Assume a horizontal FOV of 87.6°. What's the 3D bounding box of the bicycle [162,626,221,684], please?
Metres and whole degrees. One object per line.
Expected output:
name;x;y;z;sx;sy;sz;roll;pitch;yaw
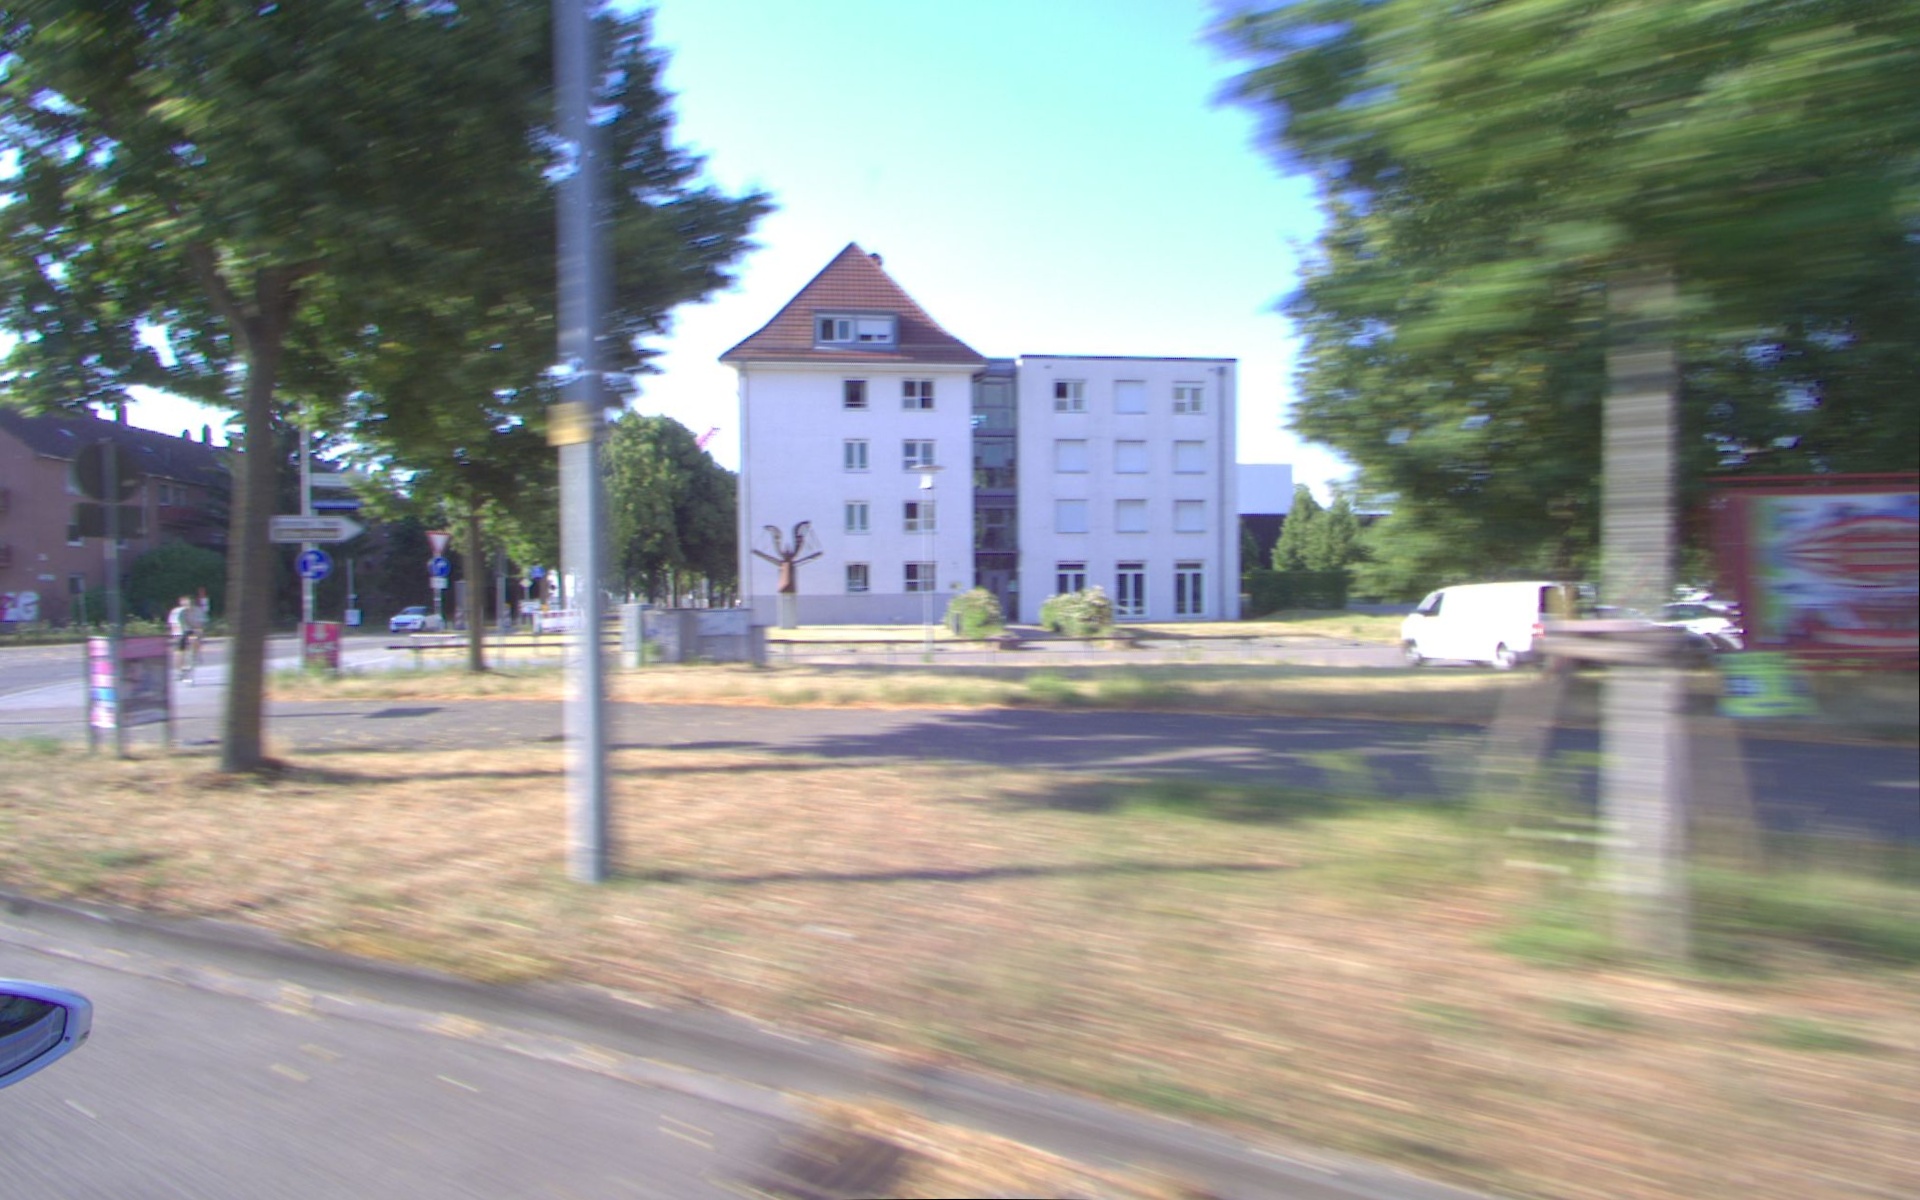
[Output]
bicycle;-15.595;1.090;20.366;0.526;1.069;1.905;0;1;-25

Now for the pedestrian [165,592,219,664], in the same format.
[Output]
pedestrian;-15.543;0.549;20.286;0.642;1.410;0.765;-3;2;-24

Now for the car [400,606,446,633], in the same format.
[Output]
car;-31.095;1.102;58.087;1.734;1.440;3.616;1;0;-19

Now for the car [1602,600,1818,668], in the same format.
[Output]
car;17.487;0.737;23.621;1.835;1.462;3.998;-1;0;-6

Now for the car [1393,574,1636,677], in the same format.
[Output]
car;12.362;0.557;22.858;2.226;2.040;5.218;-1;-1;-6

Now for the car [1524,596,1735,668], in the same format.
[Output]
car;14.946;0.673;22.648;1.835;1.462;3.998;-1;0;-6
